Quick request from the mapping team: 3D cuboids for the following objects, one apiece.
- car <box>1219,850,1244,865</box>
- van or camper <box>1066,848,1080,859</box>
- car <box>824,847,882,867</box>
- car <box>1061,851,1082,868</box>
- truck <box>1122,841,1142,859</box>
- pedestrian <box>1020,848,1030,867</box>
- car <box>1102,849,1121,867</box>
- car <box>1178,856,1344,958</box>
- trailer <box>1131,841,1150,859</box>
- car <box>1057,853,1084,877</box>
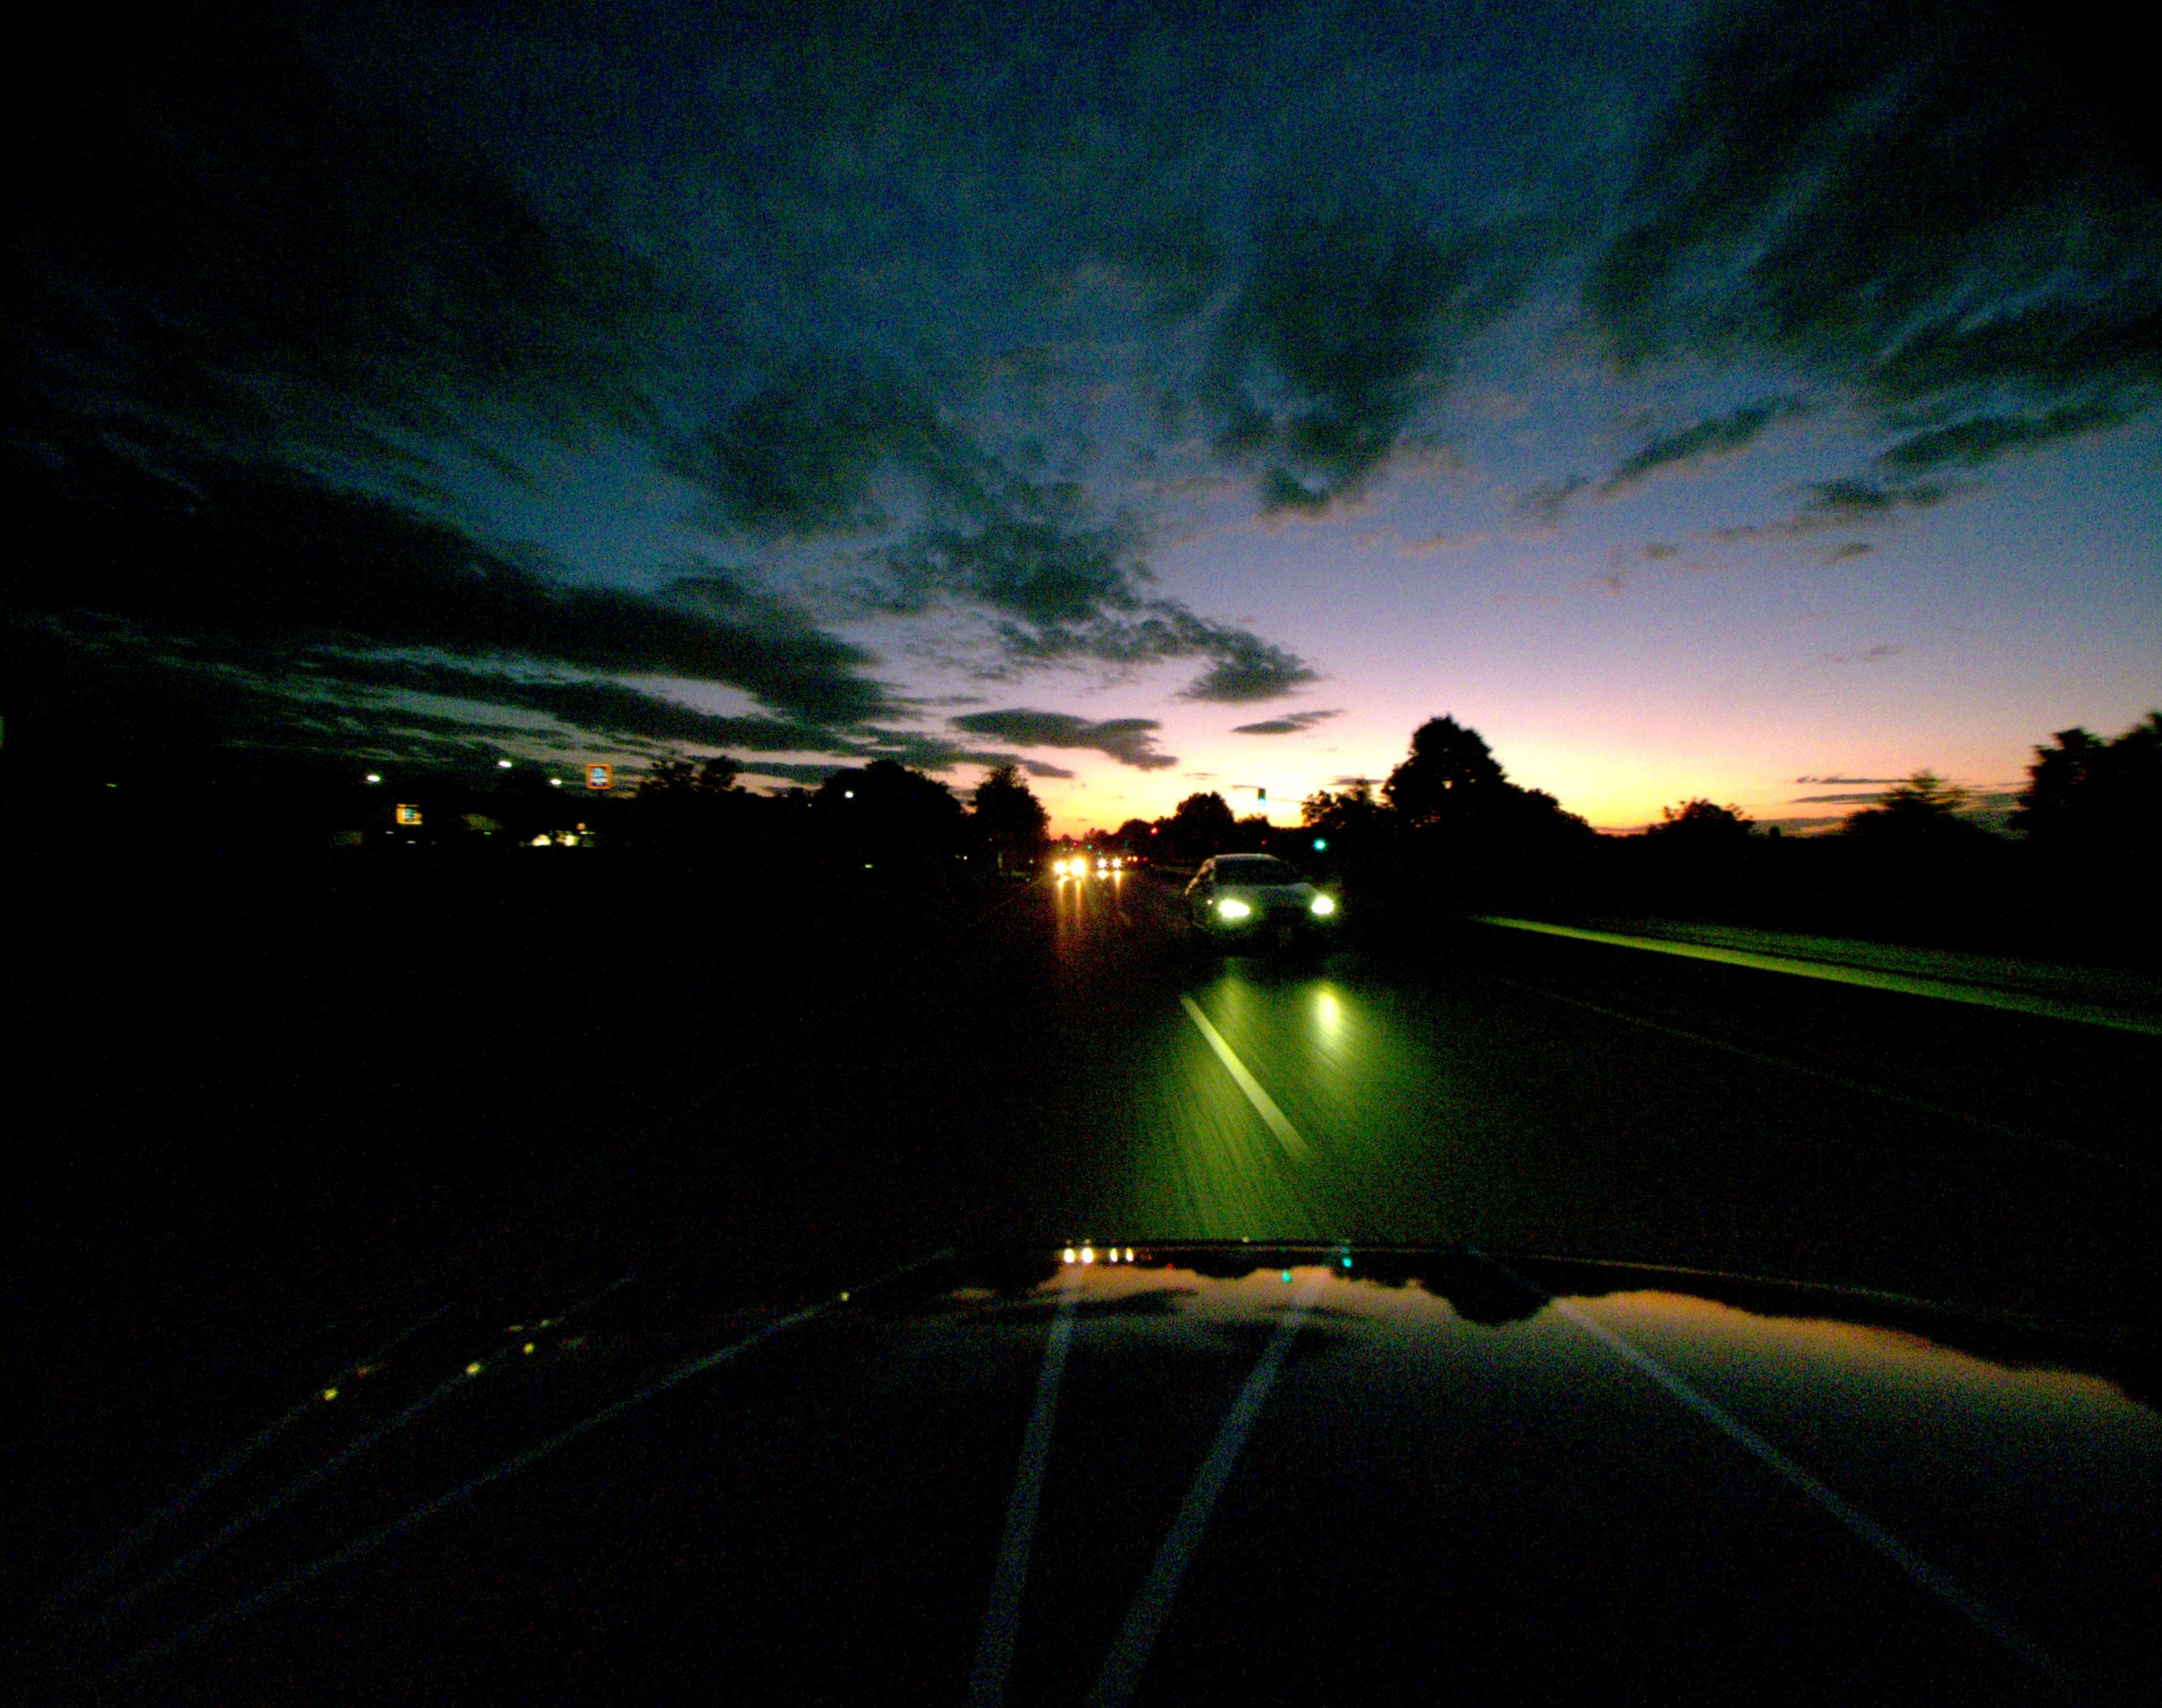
[{"bbox_3d":[15.340,0.373,77.554,1.656,1.376,4.029,-2,1,-1],"label":"car"},{"bbox_3d":[-2.384,-0.194,219.575,3.949,3.107,9.941,0,0,0],"label":"van or camper"},{"bbox_3d":[-20.079,0.267,66.945,4.474,1.654,2.000,1,0,1],"label":"car"},{"bbox_3d":[-0.908,0.545,74.966,1.902,1.547,4.301,-3,0,1],"label":"car"},{"bbox_3d":[11.727,-0.956,176.622,2.734,4.094,10.338,-1,1,-7],"label":"truck"},{"bbox_3d":[-6.255,0.391,84.513,0.782,2.002,0.712,-3,2,-39],"label":"pedestrian"},{"bbox_3d":[3.024,0.442,76.707,1.760,1.692,4.249,-2,0,1],"label":"car"},{"bbox_3d":[2.924,0.788,13.386,1.819,1.428,4.646,-2,0,1],"label":"car"},{"bbox_3d":[12.968,-0.891,166.963,2.584,3.920,8.872,2,1,-5],"label":"trailer"},{"bbox_3d":[-0.680,0.739,51.351,1.663,1.528,3.715,-1,0,1],"label":"car"}]
